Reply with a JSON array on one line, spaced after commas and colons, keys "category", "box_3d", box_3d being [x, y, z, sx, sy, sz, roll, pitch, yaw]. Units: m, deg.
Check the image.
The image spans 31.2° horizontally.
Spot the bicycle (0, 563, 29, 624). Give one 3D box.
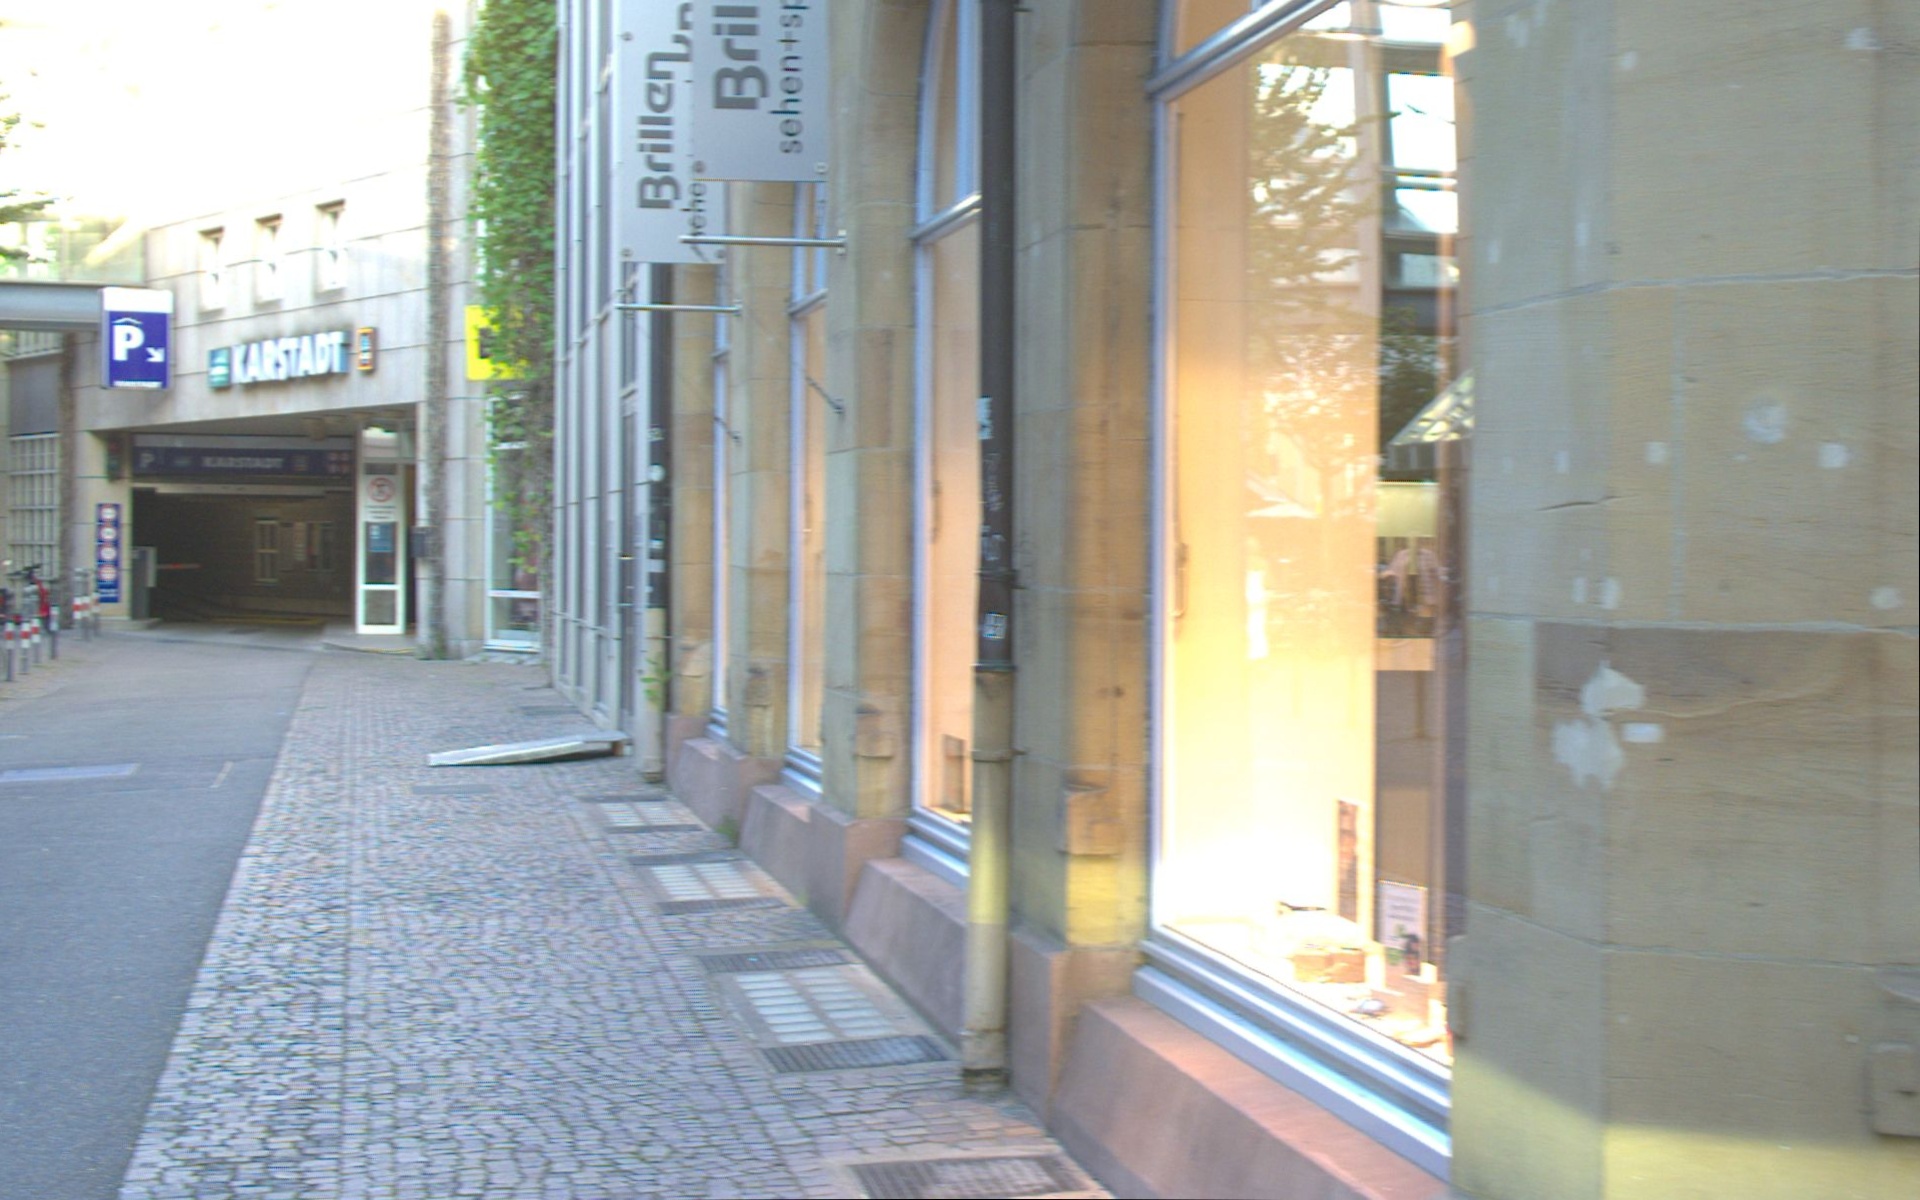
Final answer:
[{"category": "bicycle", "box_3d": [-16.040, -0.104, 55.563, 1.848, 0.978, 0.463, -1, 1, -30]}]

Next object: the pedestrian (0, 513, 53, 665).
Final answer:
[{"category": "pedestrian", "box_3d": [-11.406, -0.138, 41.179, 0.785, 1.789, 0.972, 0, 2, 2]}]

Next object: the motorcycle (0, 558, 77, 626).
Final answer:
[{"category": "motorcycle", "box_3d": [-14.713, -0.134, 53.811, 1.663, 1.047, 0.463, -1, 1, -30]}]

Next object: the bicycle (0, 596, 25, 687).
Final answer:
[{"category": "bicycle", "box_3d": [-10.249, 0.435, 35.704, 0.493, 0.935, 1.659, 1, 1, 5]}]
